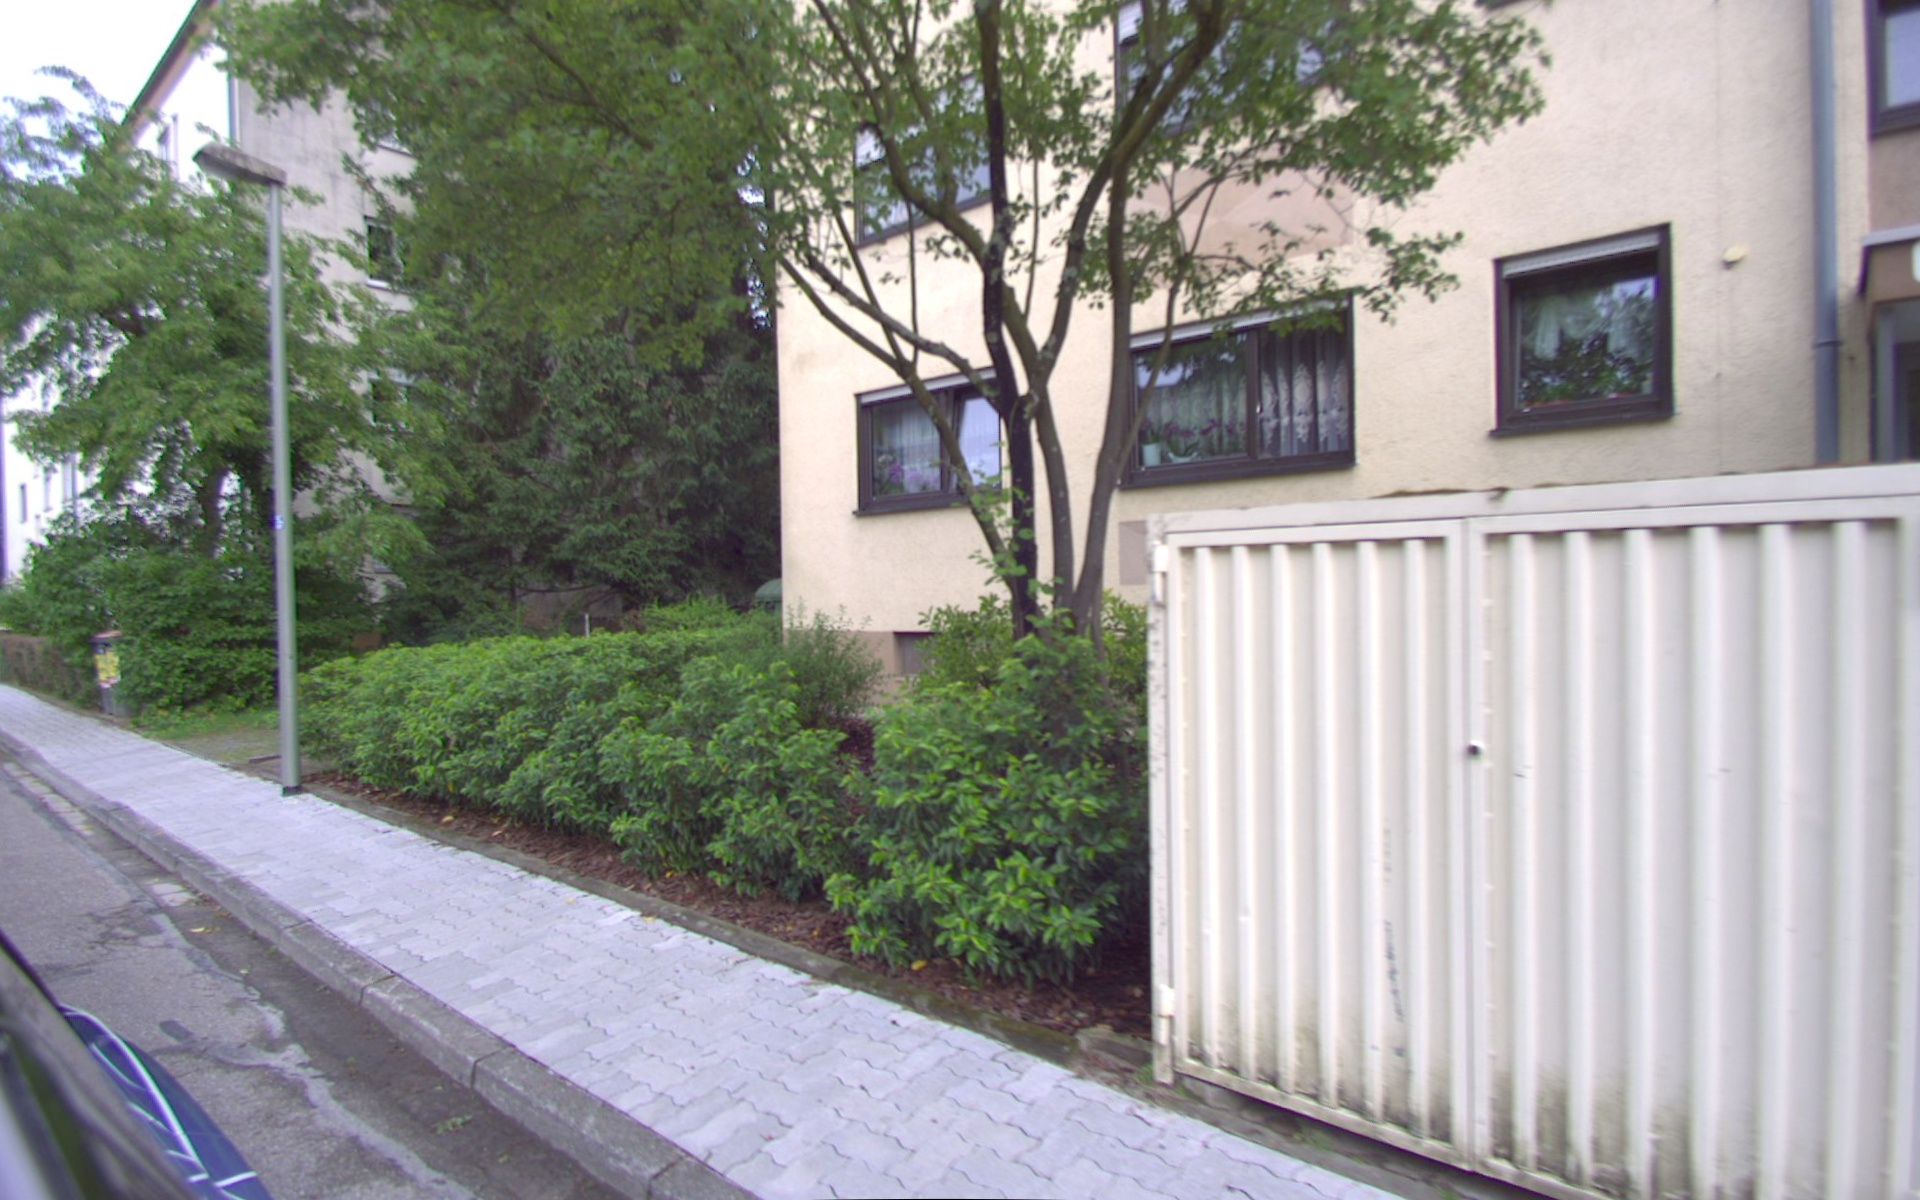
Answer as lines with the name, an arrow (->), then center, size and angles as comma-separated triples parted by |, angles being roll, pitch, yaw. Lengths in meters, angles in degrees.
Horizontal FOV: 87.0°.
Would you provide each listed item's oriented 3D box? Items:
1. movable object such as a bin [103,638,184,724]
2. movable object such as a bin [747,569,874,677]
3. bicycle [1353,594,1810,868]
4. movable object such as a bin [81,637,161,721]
movable object such as a bin -> -10.166, 0.987, 12.609 | 0.534, 1.030, 0.592 | -1, -2, 21
movable object such as a bin -> -2.141, 0.318, 14.475 | 1.478, 1.445, 1.093 | -1, -1, 40
bicycle -> 2.714, 0.542, 4.583 | 1.690, 1.059, 0.311 | -3, -2, 40
movable object such as a bin -> -10.729, 0.993, 12.954 | 0.534, 1.030, 0.592 | -1, -2, 21
